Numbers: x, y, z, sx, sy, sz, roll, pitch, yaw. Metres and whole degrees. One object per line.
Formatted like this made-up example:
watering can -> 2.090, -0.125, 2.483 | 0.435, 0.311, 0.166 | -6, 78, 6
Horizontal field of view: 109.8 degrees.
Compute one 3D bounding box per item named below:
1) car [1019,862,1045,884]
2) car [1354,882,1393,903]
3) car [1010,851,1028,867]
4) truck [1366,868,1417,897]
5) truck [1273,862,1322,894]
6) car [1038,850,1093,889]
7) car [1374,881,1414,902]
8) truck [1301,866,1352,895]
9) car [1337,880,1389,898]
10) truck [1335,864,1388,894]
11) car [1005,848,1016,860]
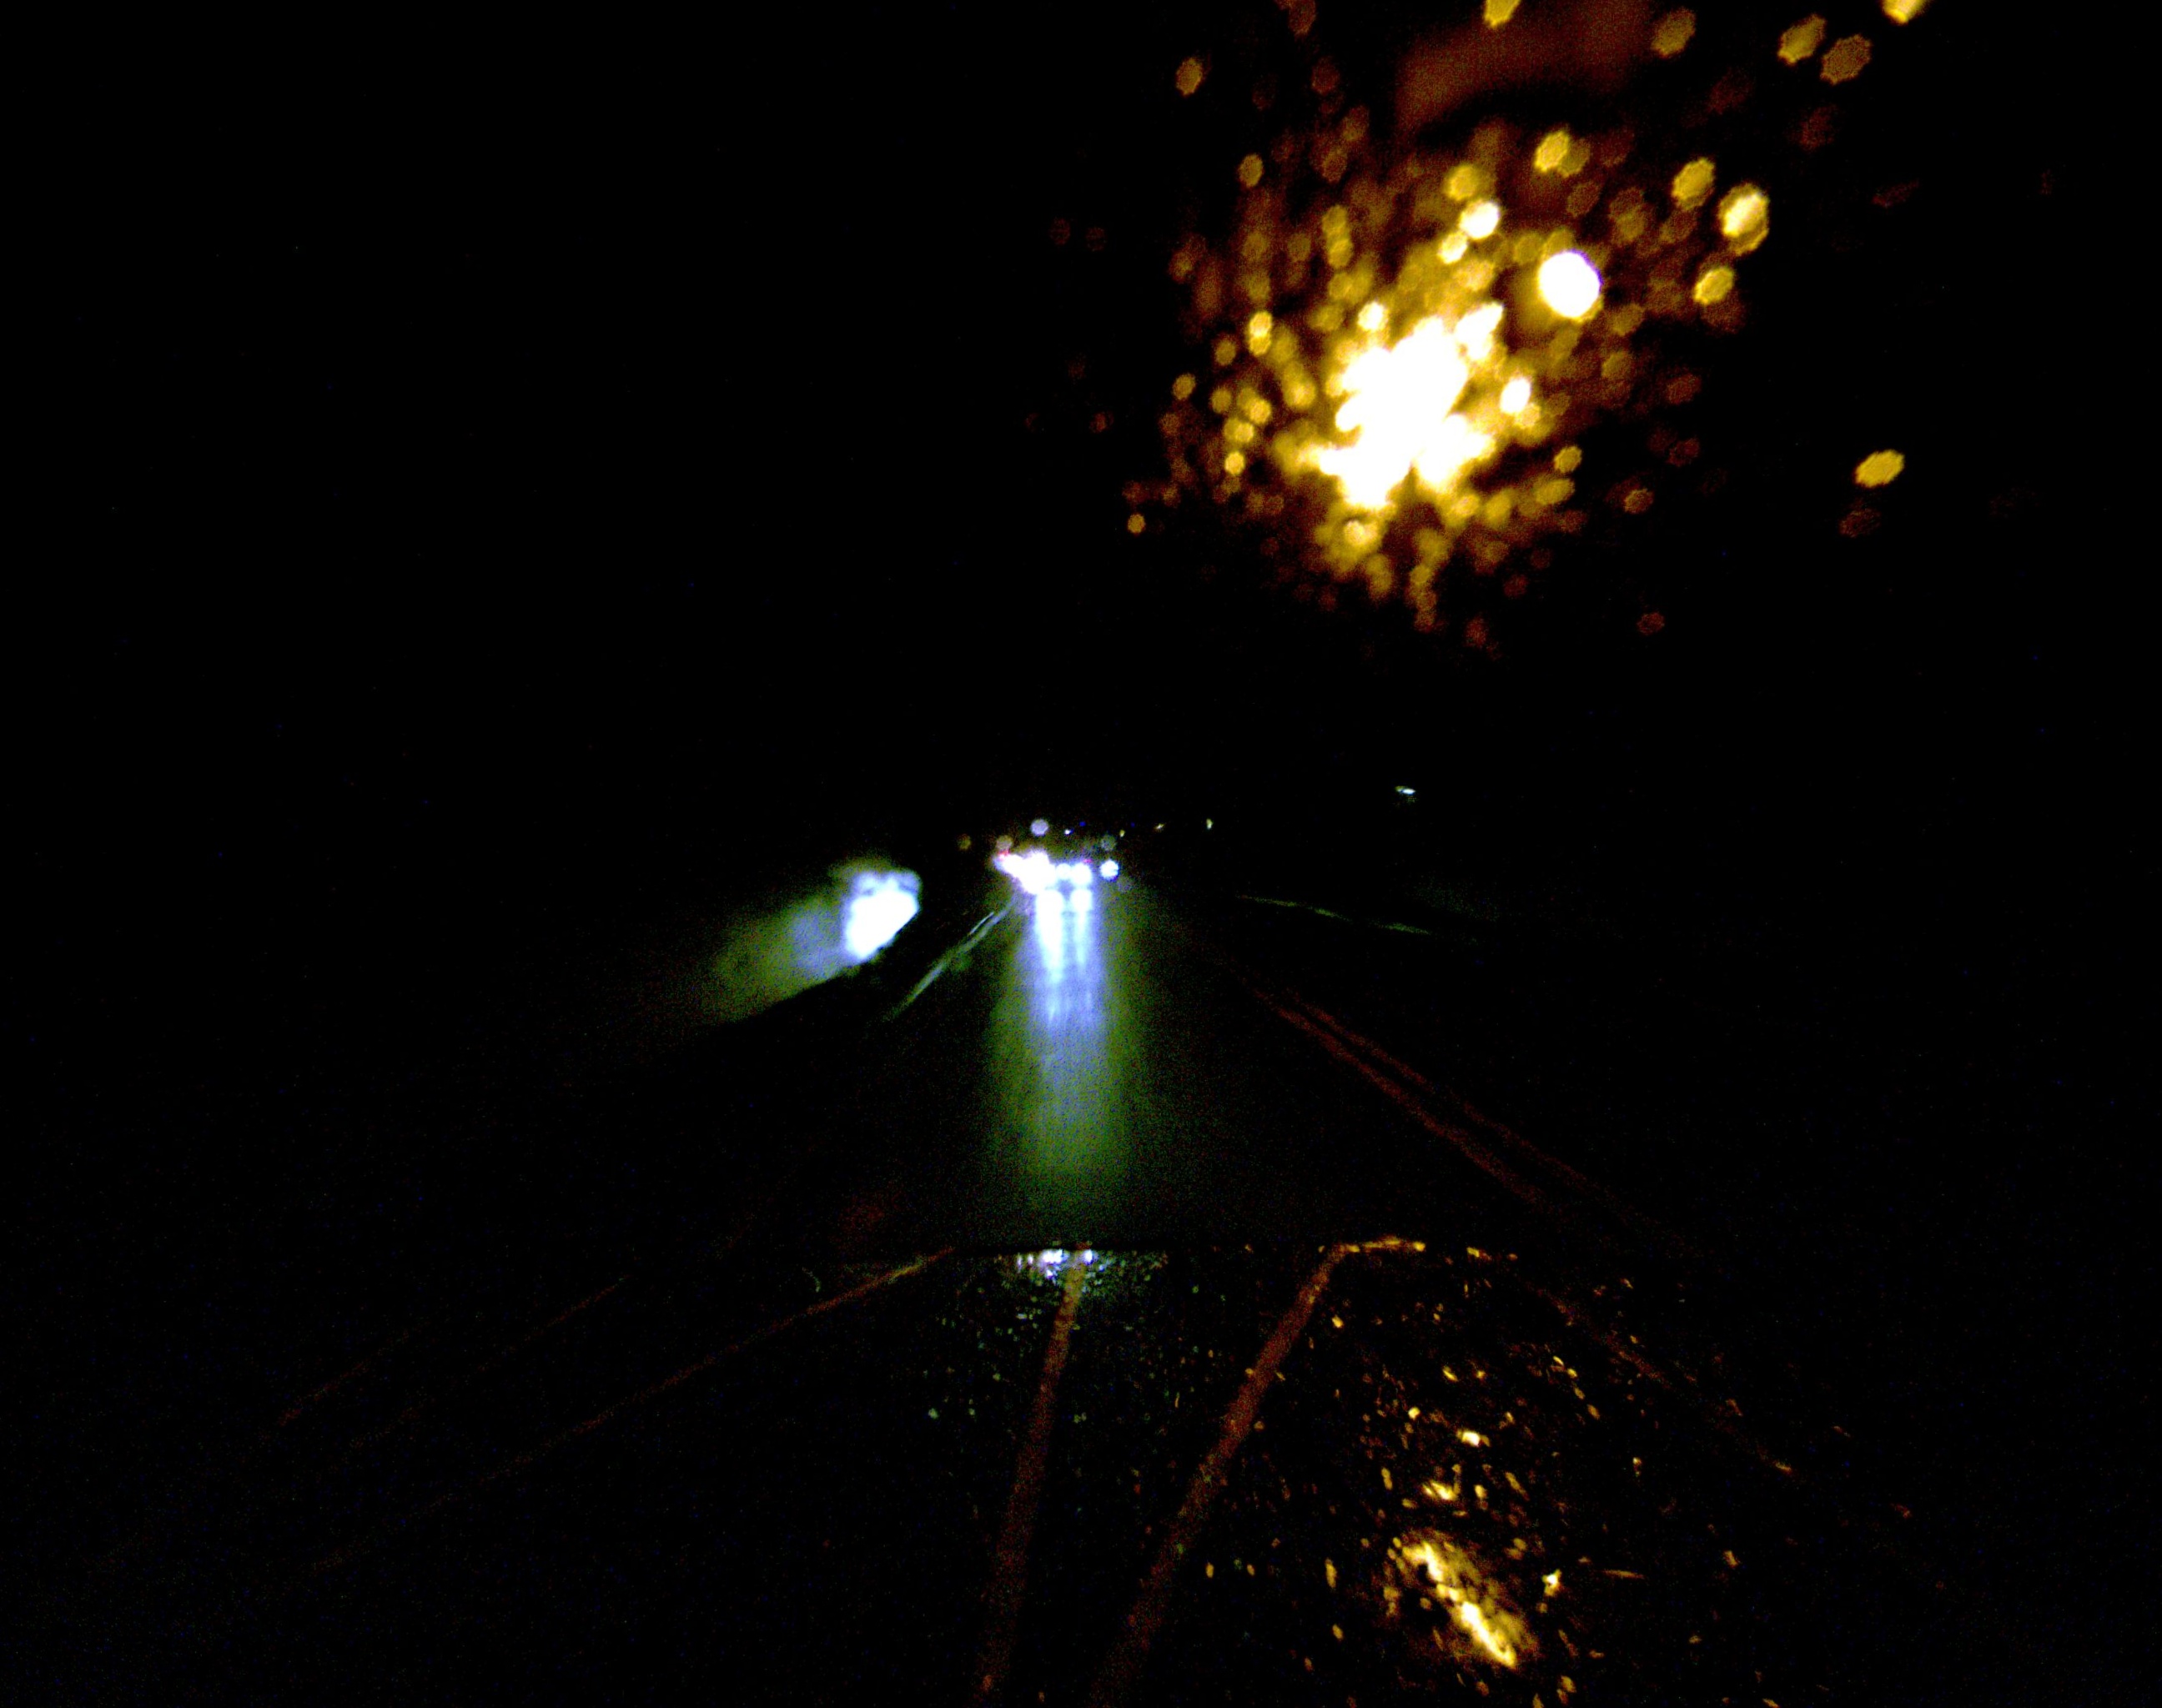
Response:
car -> -4.750, 1.790, 73.393 | 1.901, 2.002, 3.995 | -1, 1, -12
car -> 29.422, 3.891, 76.621 | 1.723, 1.896, 3.717 | -1, 0, -17
car -> -7.456, 0.571, 91.025 | 1.710, 1.762, 3.995 | -1, 1, -11
truck -> 39.792, 3.603, 97.689 | 2.444, 3.241, 6.556 | 4, 0, -15
truck -> 26.723, 2.947, 94.069 | 2.476, 3.460, 7.041 | 4, 0, -13
car -> -0.806, 0.655, 36.058 | 2.000, 1.585, 4.603 | -2, 2, -9
car -> 31.937, 3.828, 77.615 | 1.723, 1.896, 3.717 | -1, 0, -17
truck -> 30.805, 3.290, 95.771 | 2.444, 3.079, 7.041 | 4, 0, -15
car -> 25.833, 3.209, 69.741 | 4.001, 1.194, 1.845 | 5, 1, -9
truck -> 35.612, 3.131, 96.763 | 2.444, 3.241, 7.041 | 4, 0, -15
car -> -12.605, 0.020, 135.654 | 1.897, 1.991, 4.877 | -2, 0, -6
